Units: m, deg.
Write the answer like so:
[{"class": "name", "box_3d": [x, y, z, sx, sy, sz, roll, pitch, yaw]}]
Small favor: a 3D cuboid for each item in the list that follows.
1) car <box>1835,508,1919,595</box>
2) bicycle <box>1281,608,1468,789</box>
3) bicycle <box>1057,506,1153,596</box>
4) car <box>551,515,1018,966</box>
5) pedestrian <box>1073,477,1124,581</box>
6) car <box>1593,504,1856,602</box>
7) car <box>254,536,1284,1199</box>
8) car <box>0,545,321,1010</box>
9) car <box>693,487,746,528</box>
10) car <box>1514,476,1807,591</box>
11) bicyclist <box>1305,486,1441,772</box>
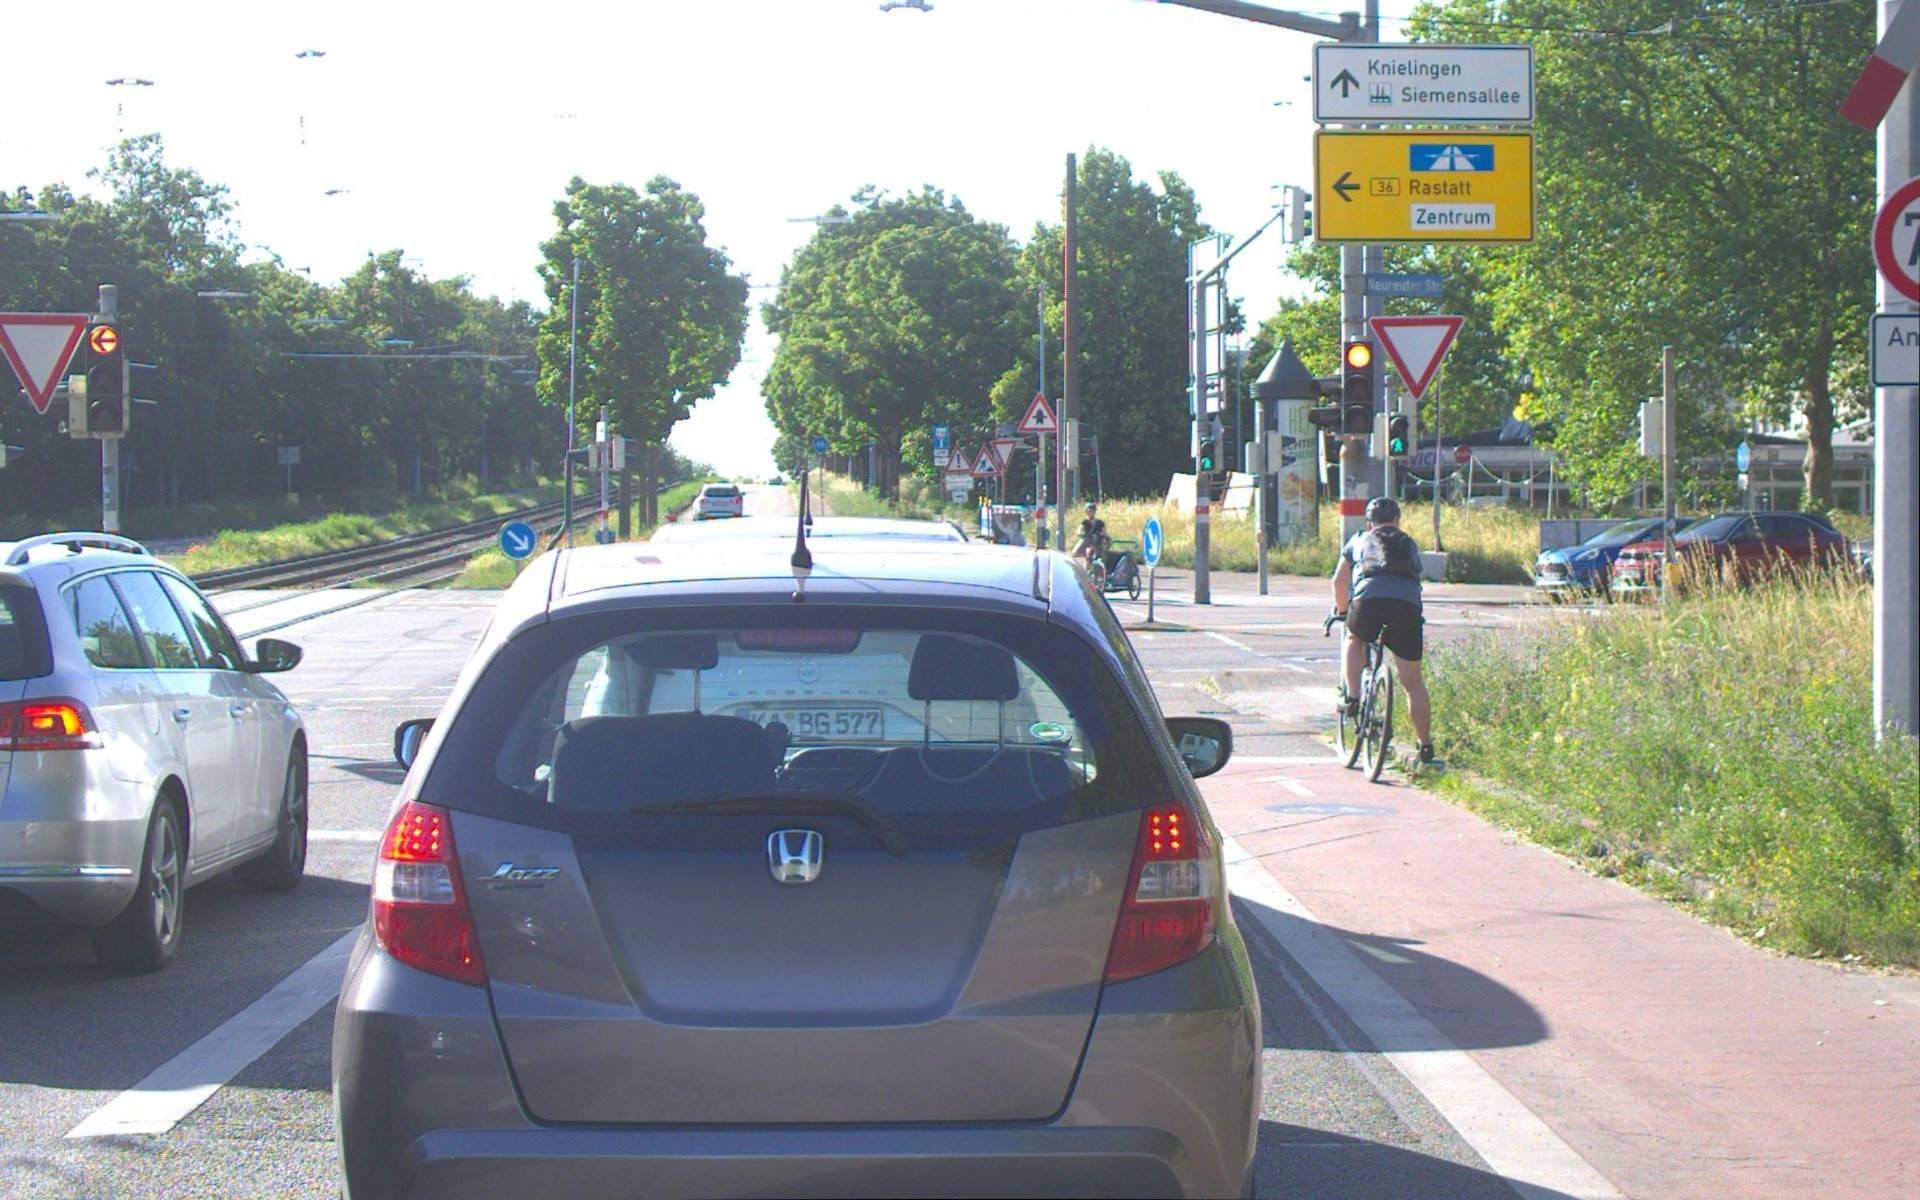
[{"class": "car", "box_3d": [18.082, -0.910, 63.142, 3.742, 1.564, 1.491, -1, 1, -23]}, {"class": "bicycle", "box_3d": [2.527, 0.572, 21.266, 0.722, 0.985, 2.876, 1, 1, -1]}, {"class": "bicycle", "box_3d": [2.595, -0.888, 61.188, 0.819, 1.569, 3.212, 0, 1, 19]}, {"class": "car", "box_3d": [-0.650, 0.445, 14.013, 1.611, 1.557, 4.288, 0, 1, -1]}, {"class": "pedestrian", "box_3d": [2.453, -1.256, 60.801, 0.788, 1.830, 0.854, 0, 1, 9]}, {"class": "car", "box_3d": [12.449, -0.781, 55.985, 3.986, 1.525, 1.606, -1, 1, -23]}, {"class": "car", "box_3d": [-0.397, 0.597, 7.378, 1.668, 1.457, 3.587, 0, 1, -3]}, {"class": "car", "box_3d": [-3.534, 0.524, 12.796, 1.619, 1.452, 4.085, 1, 1, -1]}, {"class": "car", "box_3d": [-8.975, -3.437, 128.239, 1.709, 1.473, 4.001, -1, 1, -8]}, {"class": "car", "box_3d": [12.278, -1.149, 60.268, 4.686, 1.873, 2.001, 1, 1, -23]}, {"class": "bicyclist", "box_3d": [2.538, 0.168, 21.181, 0.666, 1.710, 0.948, 1, 0, -1]}]
